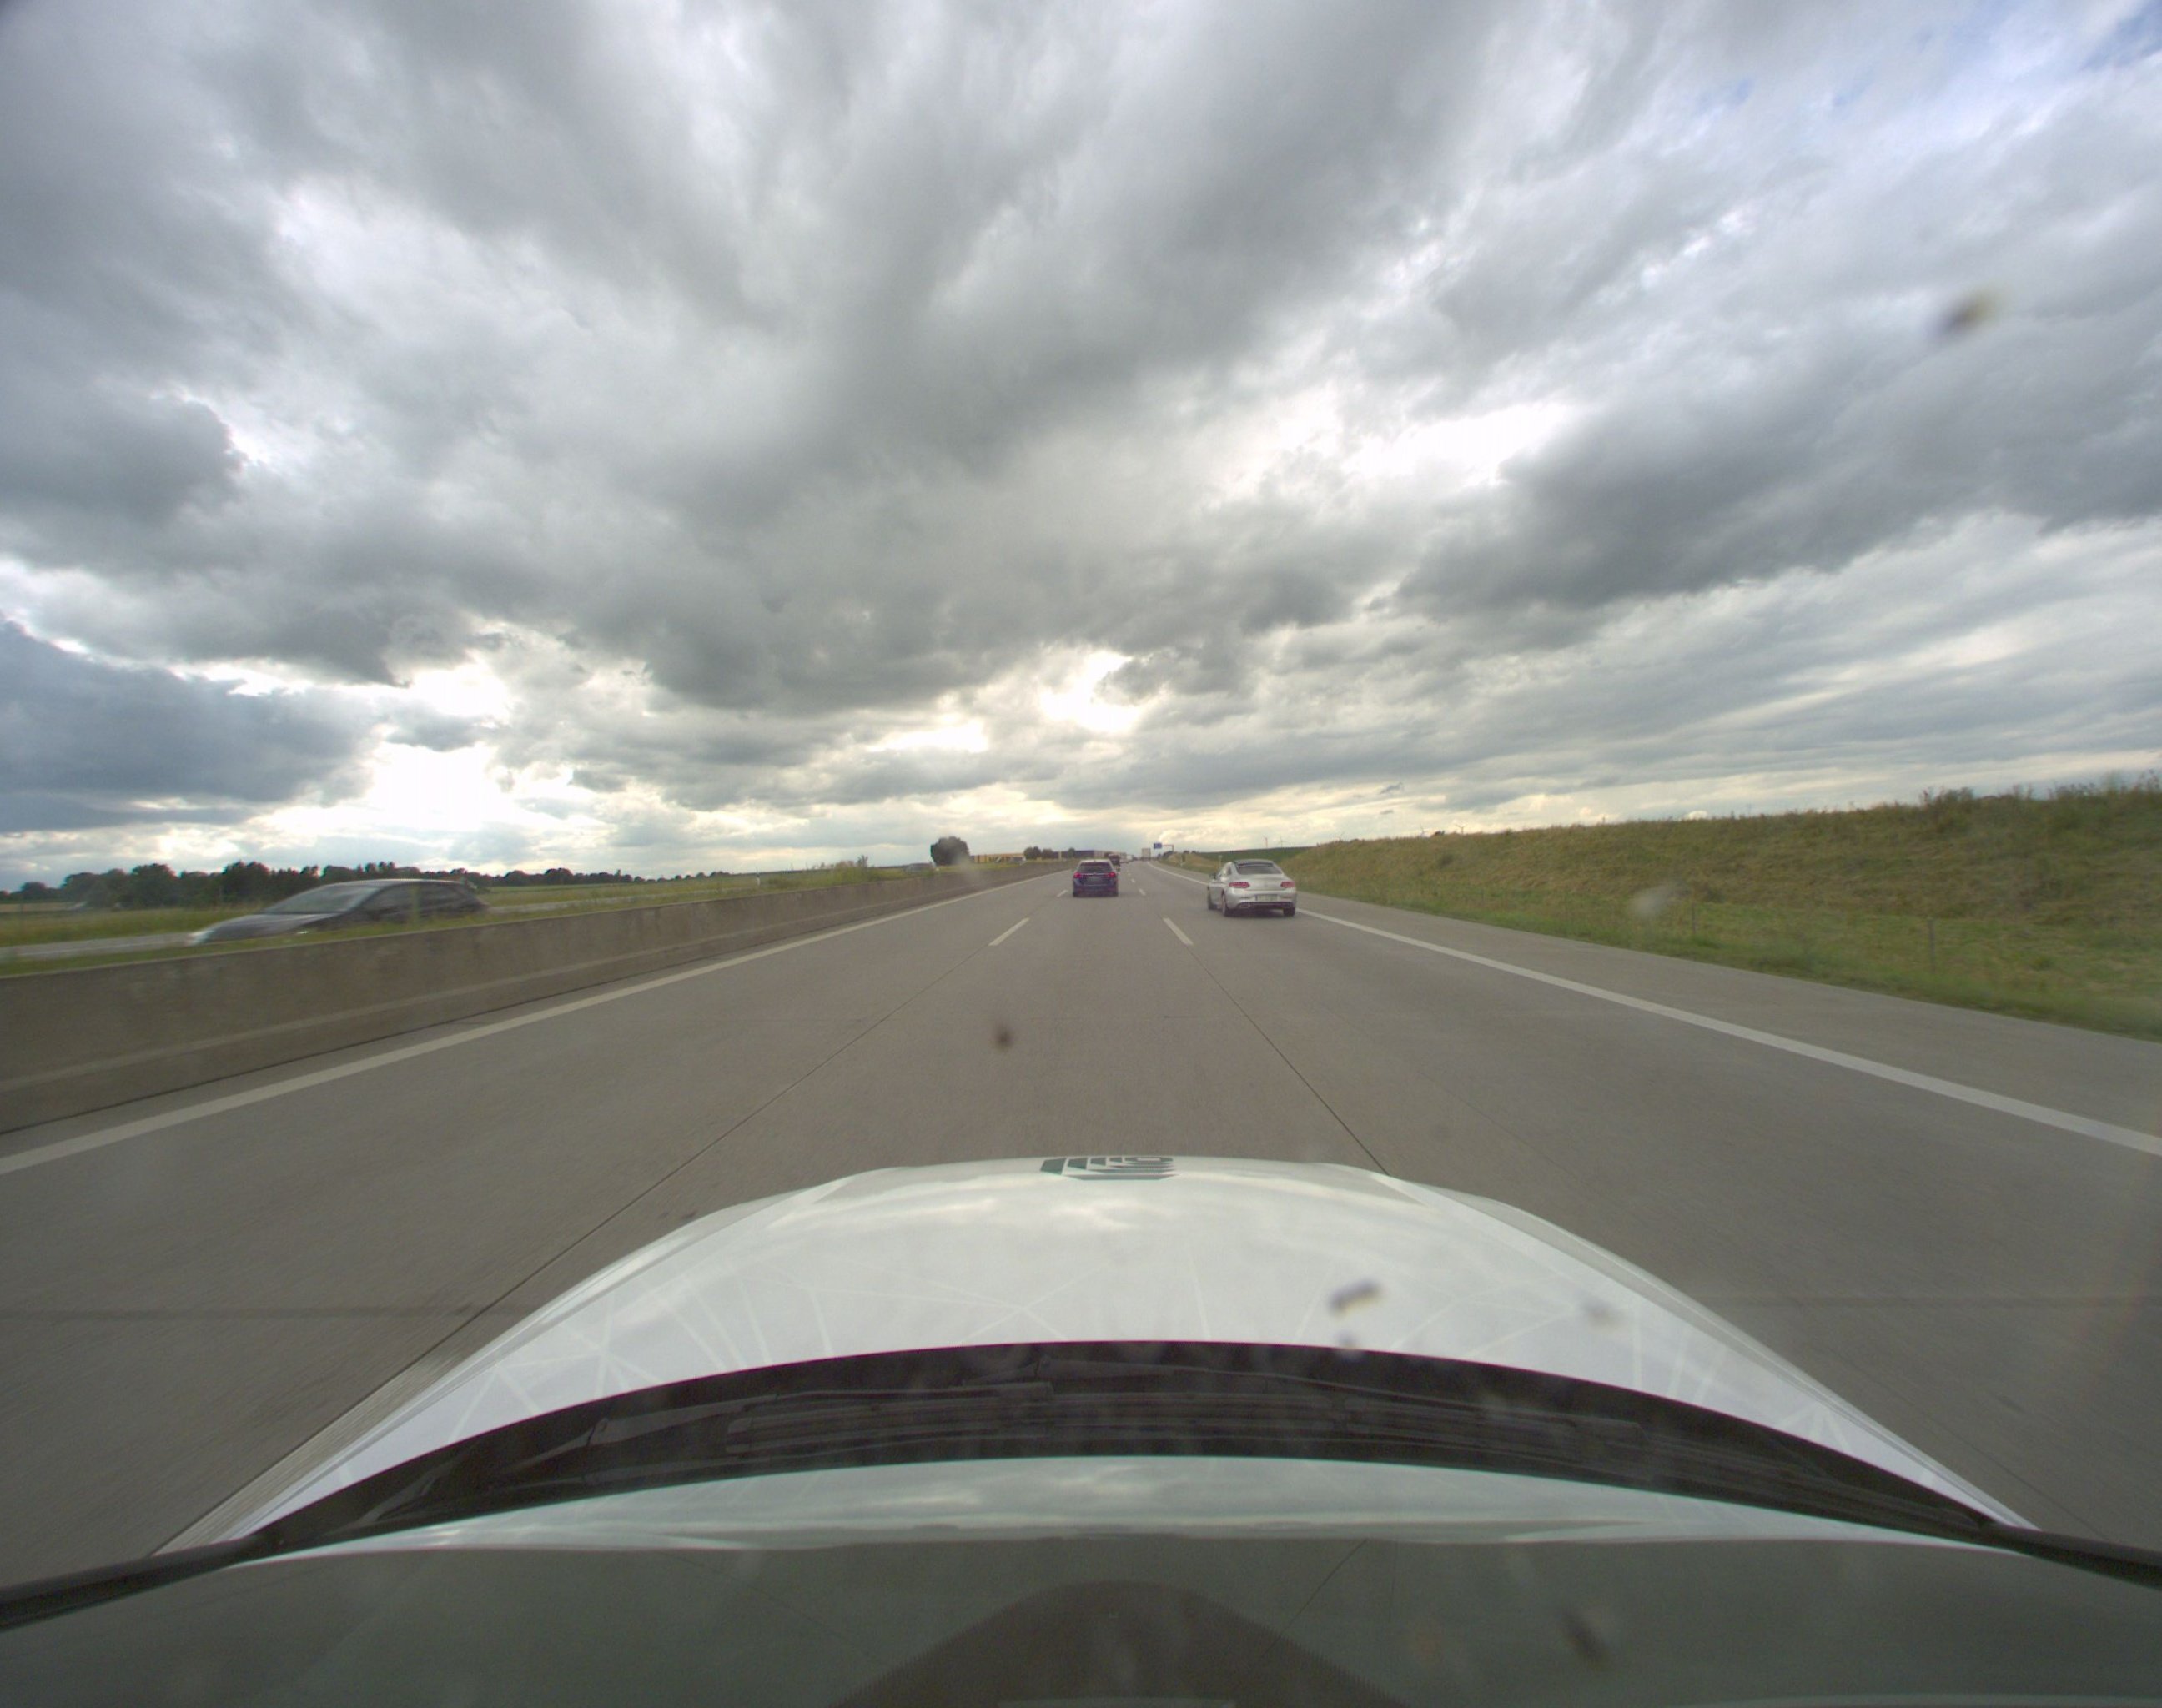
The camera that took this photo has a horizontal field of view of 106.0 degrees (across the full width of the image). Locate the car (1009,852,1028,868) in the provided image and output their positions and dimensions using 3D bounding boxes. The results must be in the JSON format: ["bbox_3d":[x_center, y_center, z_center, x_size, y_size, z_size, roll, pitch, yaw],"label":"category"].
[{"bbox_3d":[-8.132,0.726,106.116,1.986,2.013,4.632,0,0,2],"label":"car"}]

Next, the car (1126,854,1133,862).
[{"bbox_3d":[14.199,1.178,237.328,1.986,2.014,4.001,0,-1,2],"label":"car"}]

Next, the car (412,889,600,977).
[{"bbox_3d":[-11.990,1.589,17.235,1.544,1.647,3.260,0,-2,2],"label":"car"}]

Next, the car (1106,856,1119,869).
[{"bbox_3d":[5.050,1.383,130.078,1.987,2.014,3.999,0,-1,0],"label":"car"}]

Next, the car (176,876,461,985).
[{"bbox_3d":[-12.086,1.139,13.199,1.610,1.471,3.101,0,0,2],"label":"car"}]

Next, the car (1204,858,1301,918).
[{"bbox_3d":[4.393,0.832,21.474,1.782,1.403,4.222,-1,-1,2],"label":"car"}]

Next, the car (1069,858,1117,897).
[{"bbox_3d":[0.529,0.911,32.725,1.768,1.413,4.002,-1,-1,2],"label":"car"}]

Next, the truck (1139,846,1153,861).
[{"bbox_3d":[21.064,-0.034,265.284,3.935,4.756,12.080,0,-1,2],"label":"truck"}]

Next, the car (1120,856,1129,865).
[{"bbox_3d":[10.028,1.577,187.119,1.985,2.014,4.003,0,0,3],"label":"car"}]
